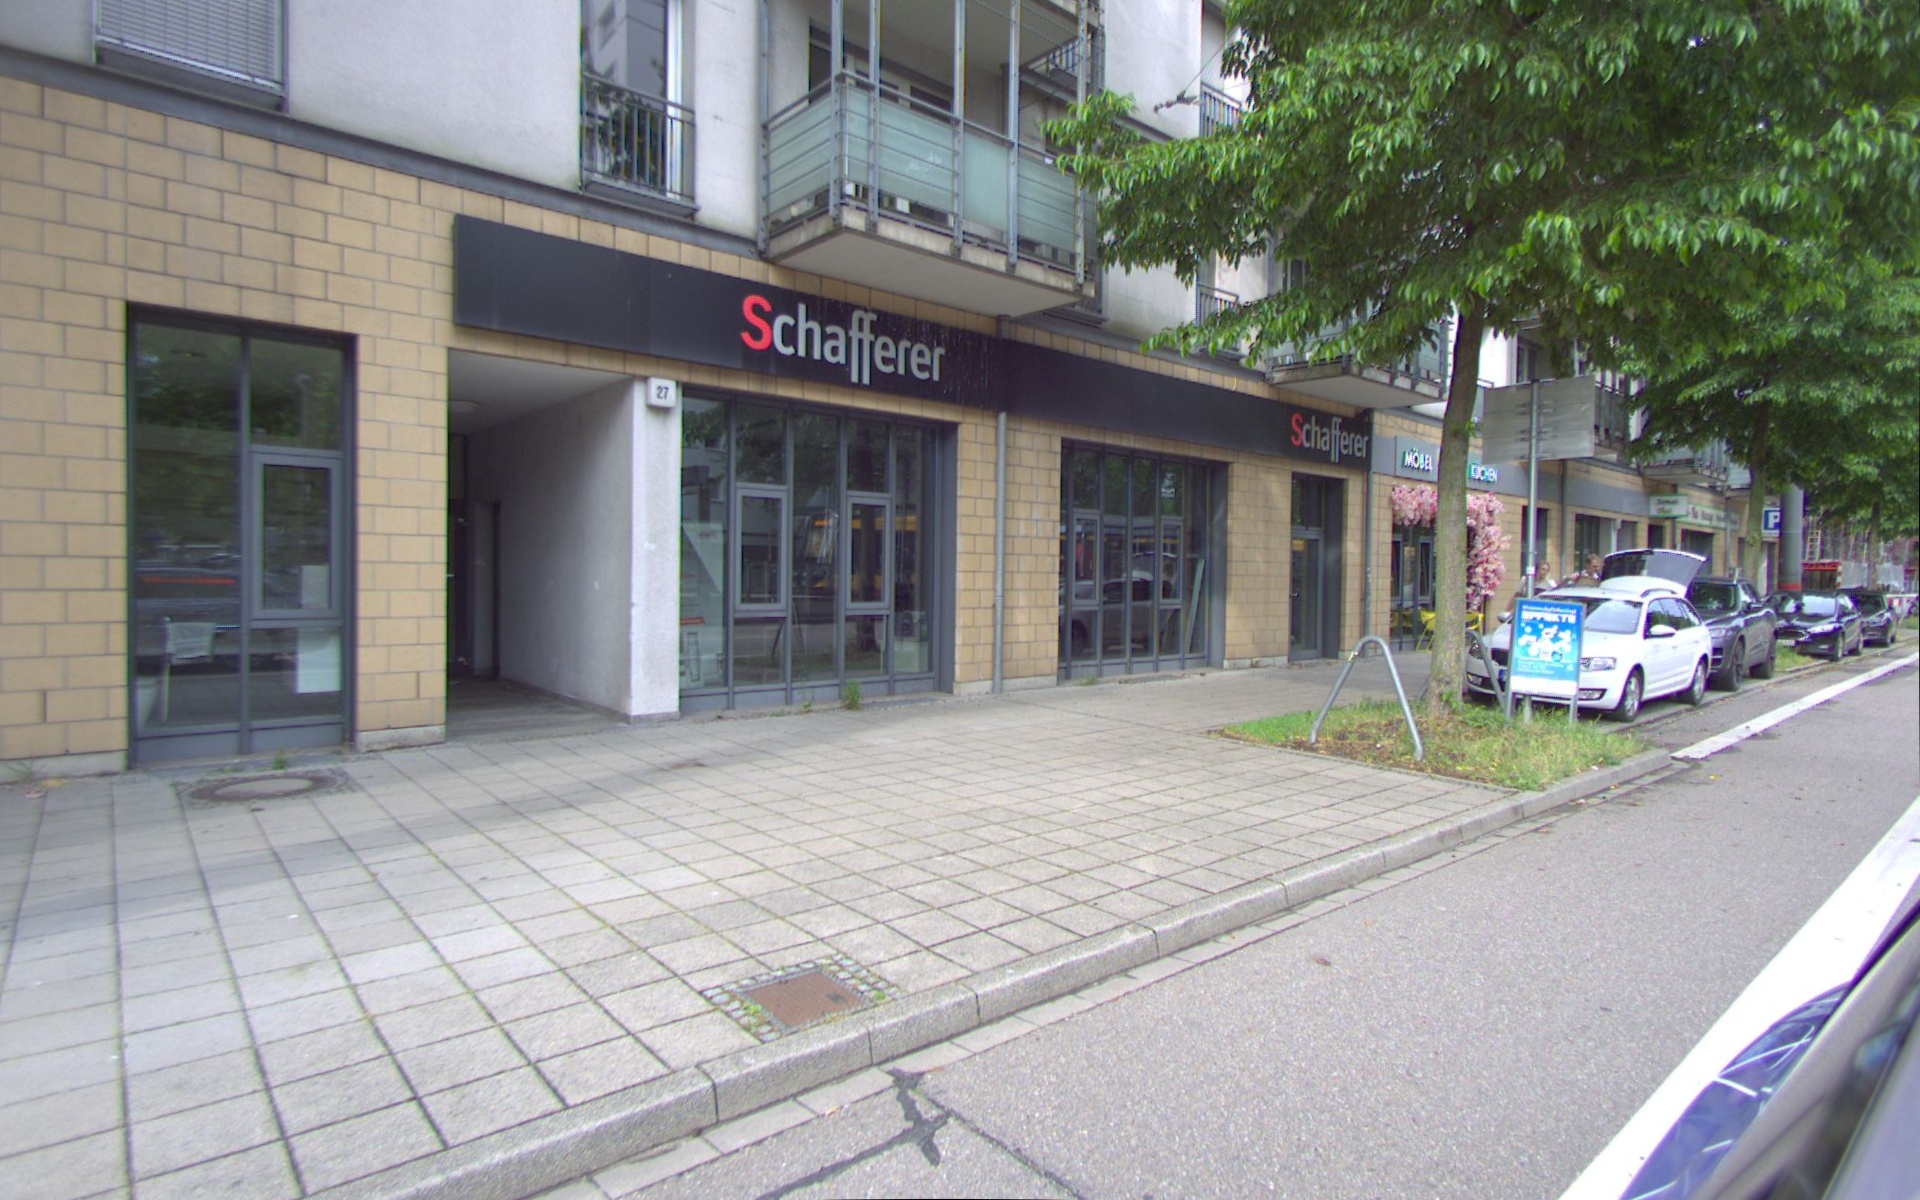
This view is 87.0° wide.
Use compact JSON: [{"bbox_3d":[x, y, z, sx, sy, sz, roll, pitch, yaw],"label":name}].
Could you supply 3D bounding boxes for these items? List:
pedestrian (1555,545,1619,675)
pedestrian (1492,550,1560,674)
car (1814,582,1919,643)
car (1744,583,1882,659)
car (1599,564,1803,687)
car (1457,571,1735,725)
[{"bbox_3d":[9.447,0.134,15.252,0.588,1.907,0.656,0,1,-41],"label":"pedestrian"},{"bbox_3d":[8.201,0.150,14.653,0.726,1.738,0.616,-1,3,-43],"label":"pedestrian"},{"bbox_3d":[24.144,0.285,26.869,3.603,1.417,1.612,-1,5,-41],"label":"car"},{"bbox_3d":[18.623,0.384,22.042,4.095,1.394,1.612,-1,5,-41],"label":"car"},{"bbox_3d":[11.782,0.316,16.026,3.732,1.630,1.738,-1,5,-41],"label":"car"},{"bbox_3d":[8.110,0.472,12.753,4.233,1.539,1.738,-1,5,-41],"label":"car"}]
